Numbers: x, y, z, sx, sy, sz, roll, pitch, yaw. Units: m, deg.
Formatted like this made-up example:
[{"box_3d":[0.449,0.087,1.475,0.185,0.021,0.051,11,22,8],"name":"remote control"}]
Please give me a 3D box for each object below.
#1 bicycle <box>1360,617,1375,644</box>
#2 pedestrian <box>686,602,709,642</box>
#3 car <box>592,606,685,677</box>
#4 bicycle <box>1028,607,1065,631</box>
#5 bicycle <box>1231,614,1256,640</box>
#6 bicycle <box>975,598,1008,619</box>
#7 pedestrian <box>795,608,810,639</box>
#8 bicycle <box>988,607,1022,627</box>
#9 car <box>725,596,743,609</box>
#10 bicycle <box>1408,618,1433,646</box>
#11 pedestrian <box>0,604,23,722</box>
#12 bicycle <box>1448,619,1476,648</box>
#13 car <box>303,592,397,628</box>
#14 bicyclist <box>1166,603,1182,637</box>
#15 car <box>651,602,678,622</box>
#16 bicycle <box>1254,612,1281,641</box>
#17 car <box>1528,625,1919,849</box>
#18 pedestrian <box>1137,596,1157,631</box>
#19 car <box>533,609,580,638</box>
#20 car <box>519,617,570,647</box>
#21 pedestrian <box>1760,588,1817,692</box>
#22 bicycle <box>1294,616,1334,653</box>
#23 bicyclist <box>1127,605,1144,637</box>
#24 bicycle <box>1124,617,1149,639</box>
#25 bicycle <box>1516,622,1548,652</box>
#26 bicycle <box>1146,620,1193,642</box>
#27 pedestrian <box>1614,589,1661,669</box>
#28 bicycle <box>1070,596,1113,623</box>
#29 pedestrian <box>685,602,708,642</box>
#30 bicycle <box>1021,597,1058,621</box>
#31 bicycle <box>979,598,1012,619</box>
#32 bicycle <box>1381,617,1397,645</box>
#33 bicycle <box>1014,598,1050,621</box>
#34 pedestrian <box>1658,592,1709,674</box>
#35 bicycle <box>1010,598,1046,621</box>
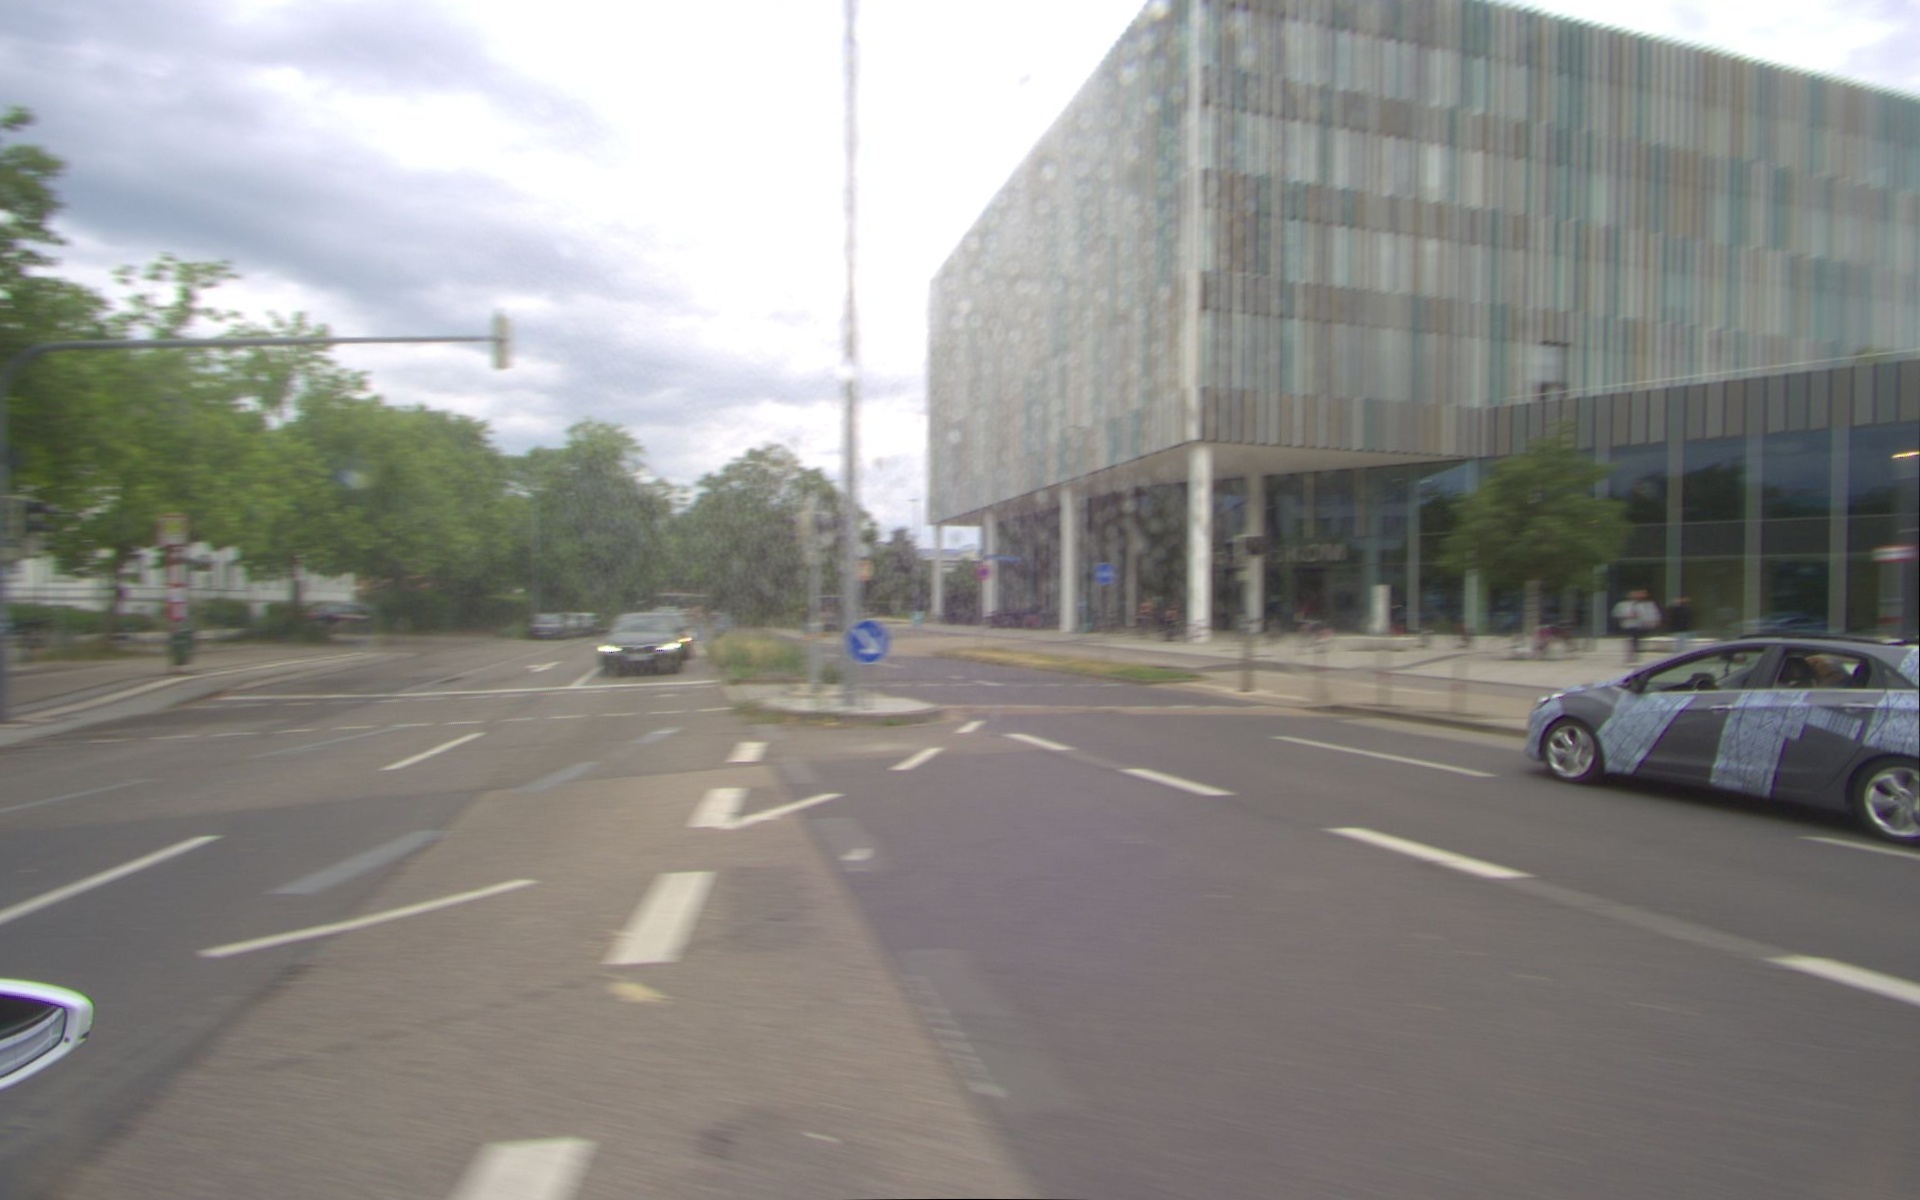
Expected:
[{"box_3d":[15.065,1.108,37.030,0.476,0.948,2.004,0,0,23],"name":"bicycle"},{"box_3d":[-11.866,0.991,45.282,0.707,1.812,0.887,0,0,-40],"name":"pedestrian"},{"box_3d":[-7.943,0.946,24.939,1.964,1.509,4.283,-2,1,-17],"name":"car"},{"box_3d":[5.046,1.130,58.426,2.066,1.275,0.628,3,-1,-12],"name":"bicycle"},{"box_3d":[12.062,1.133,42.577,0.477,1.059,1.905,1,0,34],"name":"bicycle"},{"box_3d":[2.094,0.583,66.300,2.068,1.275,0.627,3,-1,-18],"name":"bicycle"},{"box_3d":[-9.424,1.391,60.033,0.794,1.833,0.588,2,0,-12],"name":"pedestrian"},{"box_3d":[2.879,1.102,64.188,2.068,1.276,0.627,0,1,-18],"name":"bicycle"},{"box_3d":[-29.422,0.289,130.028,1.786,1.639,3.989,1,0,-20],"name":"car"},{"box_3d":[16.421,1.124,35.715,0.475,0.948,2.007,0,0,15],"name":"bicycle"},{"box_3d":[-13.823,0.865,13.912,0.778,1.648,0.757,5,0,-4],"name":"pedestrian"},{"box_3d":[17.585,1.150,35.080,0.475,0.948,2.007,0,0,15],"name":"bicycle"},{"box_3d":[-31.135,0.510,51.161,4.012,1.776,1.987,0,0,-33],"name":"car"},{"box_3d":[9.202,0.857,43.018,0.593,1.488,0.484,0,1,1],"name":"bicyclist"},{"box_3d":[-25.062,0.982,84.907,1.964,1.639,4.188,0,0,-14],"name":"car"},{"box_3d":[12.159,1.035,39.513,0.477,1.059,1.905,0,1,34],"name":"bicycle"},{"box_3d":[7.213,1.011,8.173,1.966,1.487,4.217,2,-1,-19],"name":"car"},{"box_3d":[9.795,0.685,52.469,0.788,1.812,0.761,0,1,-15],"name":"pedestrian"},{"box_3d":[-23.456,1.341,58.306,1.964,1.639,3.995,0,0,-14],"name":"car"},{"box_3d":[-22.465,1.721,54.308,1.964,1.532,3.995,1,0,-14],"name":"car"},{"box_3d":[13.866,0.662,16.773,0.609,1.688,0.622,0,0,29],"name":"pedestrian"},{"box_3d":[10.917,1.046,30.862,0.479,1.059,1.767,1,1,45],"name":"bicycle"},{"box_3d":[7.885,0.930,45.031,0.607,1.401,0.718,0,1,-5],"name":"bicyclist"},{"box_3d":[7.902,1.252,44.924,0.607,0.938,1.916,0,0,-5],"name":"bicycle"},{"box_3d":[19.587,1.240,34.316,0.475,0.948,2.007,0,0,15],"name":"bicycle"},{"box_3d":[9.054,1.333,43.259,1.879,0.938,0.605,0,0,0],"name":"bicycle"},{"box_3d":[15.670,0.654,23.169,0.834,1.812,0.890,1,1,31],"name":"pedestrian"},{"box_3d":[6.824,0.485,51.915,2.066,1.275,0.628,3,-1,-12],"name":"bicycle"},{"box_3d":[-12.181,1.009,46.249,0.707,1.812,0.887,0,0,-40],"name":"pedestrian"},{"box_3d":[4.727,0.541,59.701,2.066,1.275,0.628,3,-1,-12],"name":"bicycle"},{"box_3d":[2.316,0.583,65.639,2.068,1.275,0.627,3,-1,-18],"name":"bicycle"},{"box_3d":[15.703,1.122,36.677,0.539,0.948,2.004,0,0,23],"name":"bicycle"},{"box_3d":[4.377,0.560,60.593,2.068,1.275,0.627,3,-1,-18],"name":"bicycle"},{"box_3d":[16.436,0.732,22.775,0.834,1.812,0.890,1,1,31],"name":"pedestrian"},{"box_3d":[4.140,0.573,61.214,2.068,1.275,0.627,3,-1,-18],"name":"bicycle"}]
